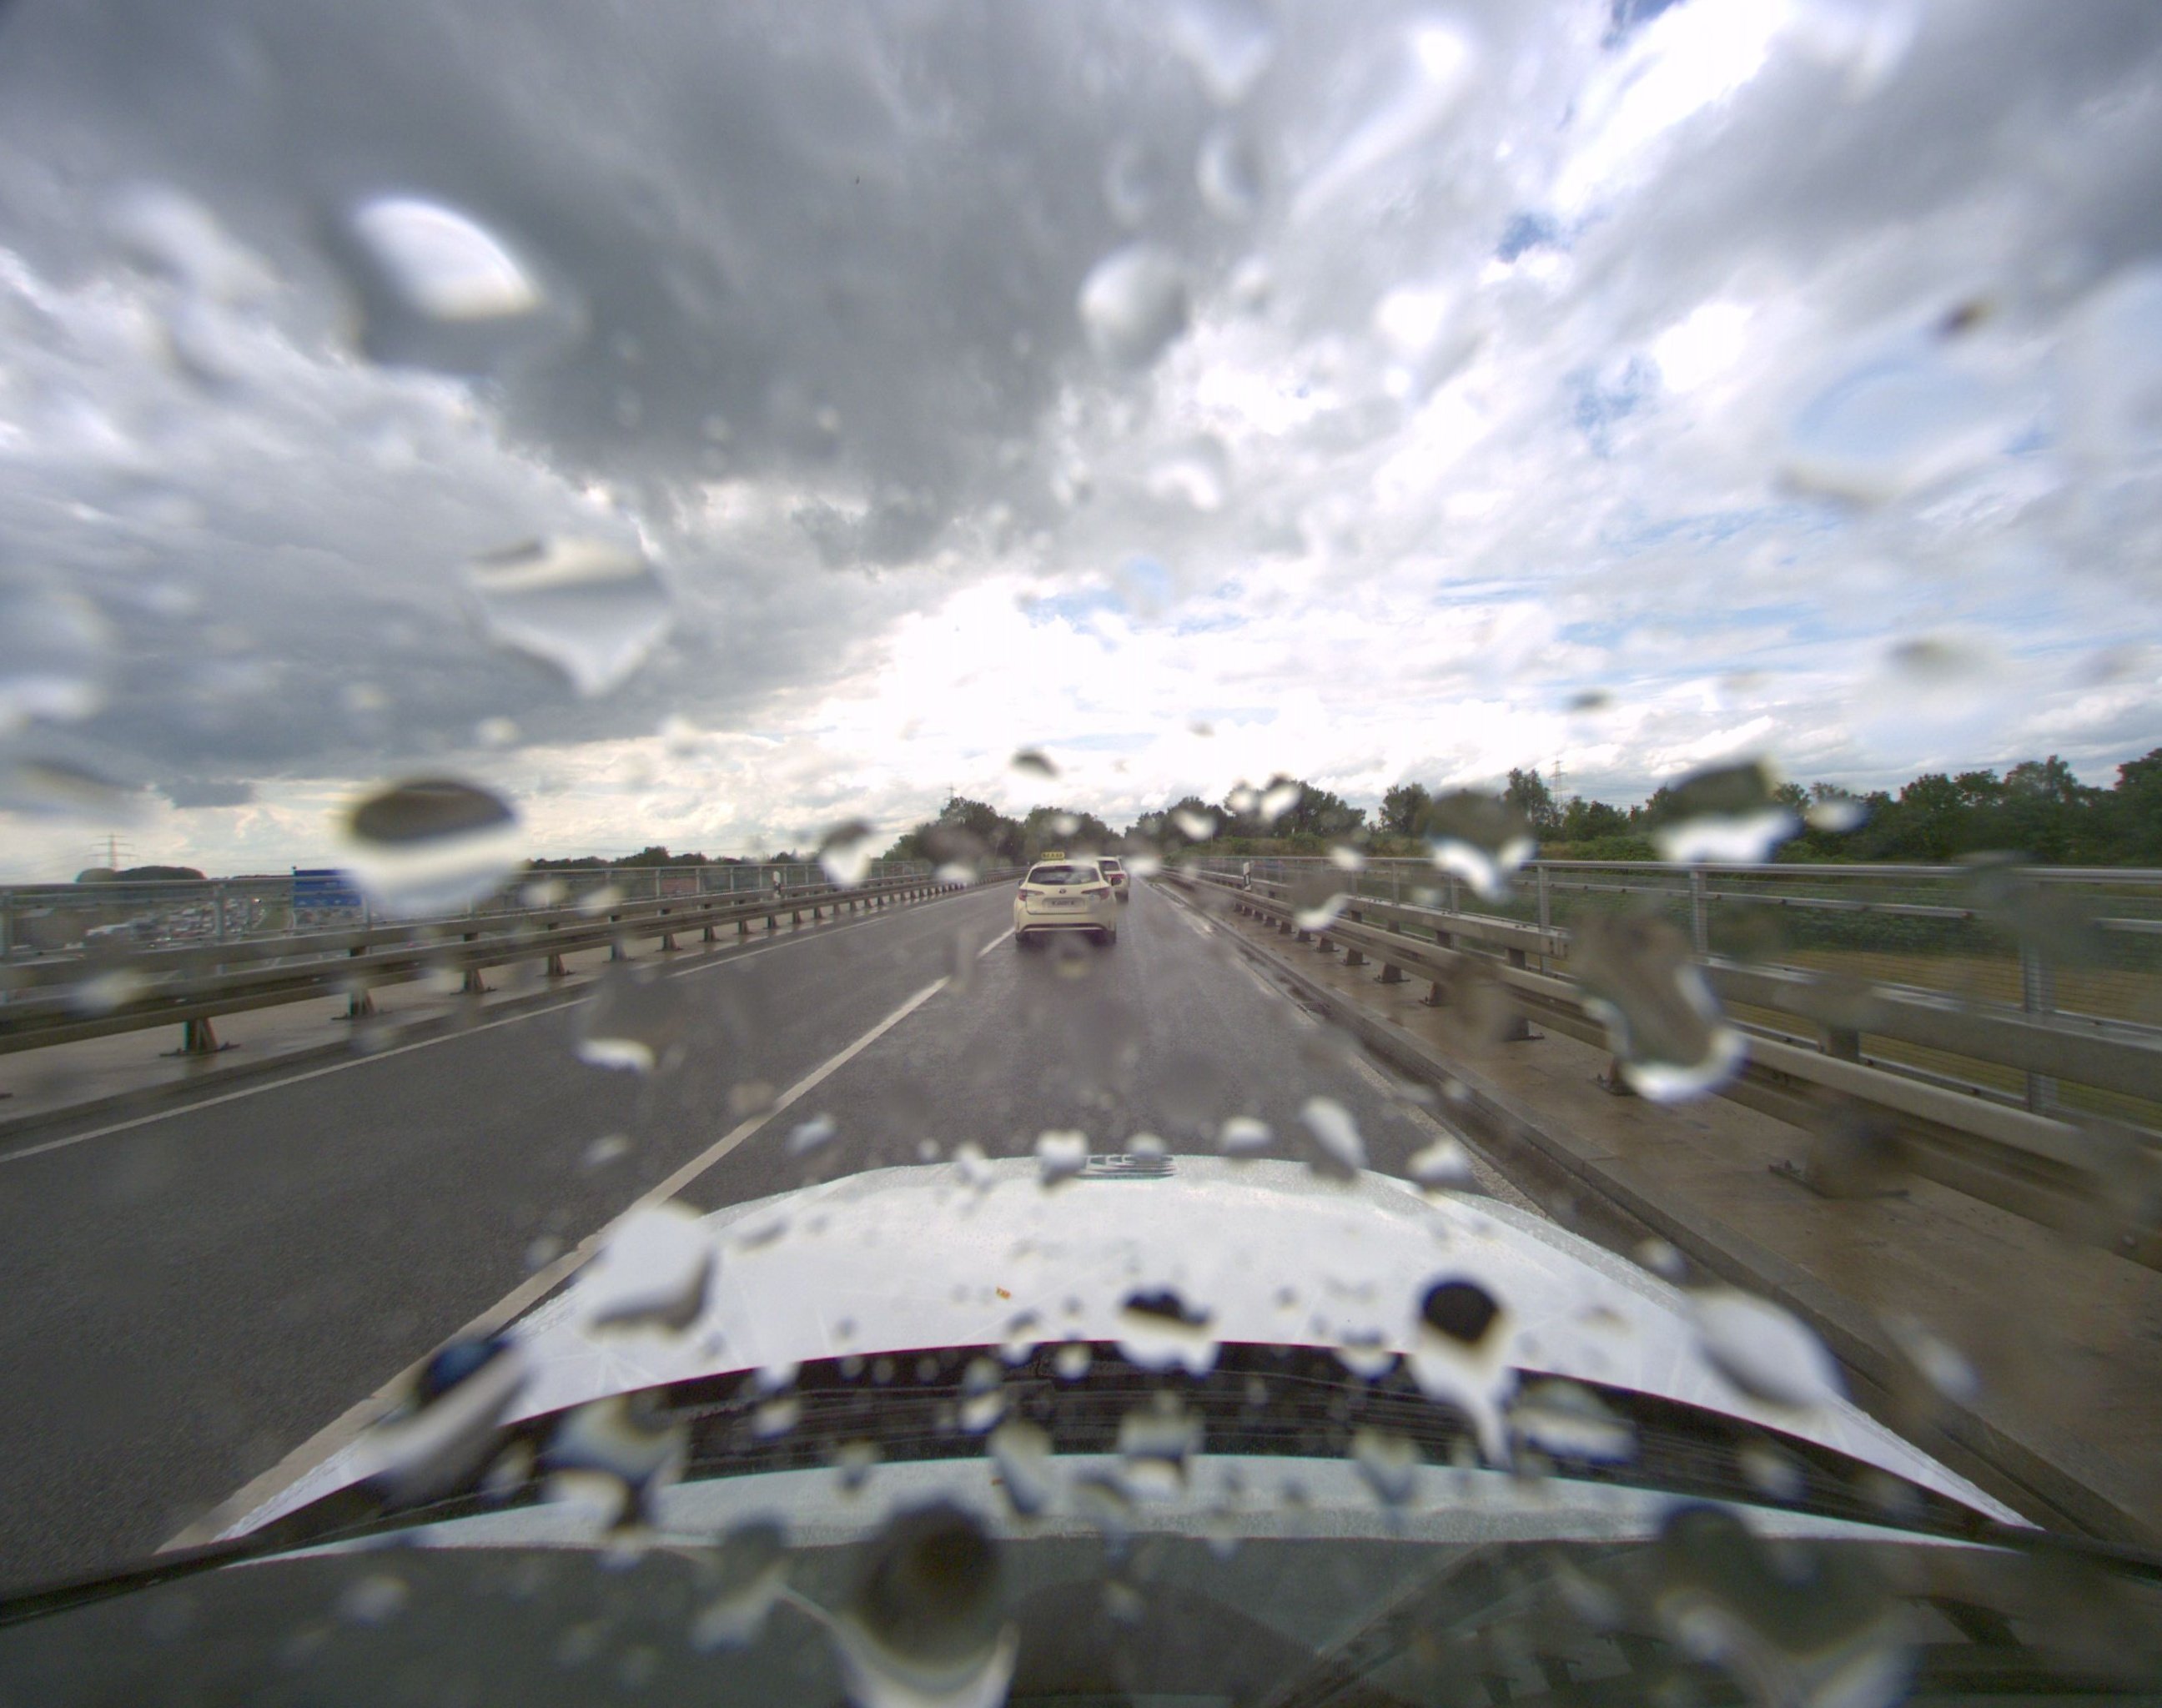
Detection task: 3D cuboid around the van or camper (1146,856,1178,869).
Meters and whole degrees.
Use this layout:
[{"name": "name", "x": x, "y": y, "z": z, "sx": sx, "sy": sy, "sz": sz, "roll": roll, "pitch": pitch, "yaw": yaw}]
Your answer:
[{"name": "van or camper", "x": 15.183, "y": 1.575, "z": 153.548, "sx": 5.683, "sy": 2.241, "sz": 2.012, "roll": 0, "pitch": 0, "yaw": -12}]

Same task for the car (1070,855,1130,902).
[{"name": "car", "x": 0.679, "y": 0.764, "z": 27.350, "sx": 1.847, "sy": 1.443, "sz": 4.173, "roll": 0, "pitch": 0, "yaw": 2}]

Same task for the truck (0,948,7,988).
[{"name": "truck", "x": -106.714, "y": 11.444, "z": 78.258, "sx": 2.451, "sy": 3.762, "sz": 11.034, "roll": 0, "pitch": 0, "yaw": -43}]

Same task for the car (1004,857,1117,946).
[{"name": "car", "x": -0.249, "y": 0.783, "z": 15.355, "sx": 1.847, "sy": 1.394, "sz": 4.173, "roll": 0, "pitch": 0, "yaw": 2}]

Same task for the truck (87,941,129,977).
[{"name": "truck", "x": -146.889, "y": 15.717, "z": 123.054, "sx": 2.450, "sy": 4.194, "sz": 11.036, "roll": 0, "pitch": 0, "yaw": -42}]

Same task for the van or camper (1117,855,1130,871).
[{"name": "van or camper", "x": 7.802, "y": 1.674, "z": 149.550, "sx": 2.323, "sy": 2.864, "sz": 6.310, "roll": 0, "pitch": 0, "yaw": 2}]

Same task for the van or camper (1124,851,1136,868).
[{"name": "van or camper", "x": 10.655, "y": 1.256, "z": 177.344, "sx": 2.323, "sy": 3.562, "sz": 6.310, "roll": 0, "pitch": 0, "yaw": 2}]

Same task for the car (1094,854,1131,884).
[{"name": "car", "x": 1.658, "y": 0.755, "z": 42.783, "sx": 1.847, "sy": 1.443, "sz": 4.173, "roll": 0, "pitch": 0, "yaw": 2}]

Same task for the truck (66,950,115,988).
[{"name": "truck", "x": -133.341, "y": 15.408, "z": 109.751, "sx": 2.450, "sy": 3.762, "sz": 11.036, "roll": 0, "pitch": 0, "yaw": -42}]
